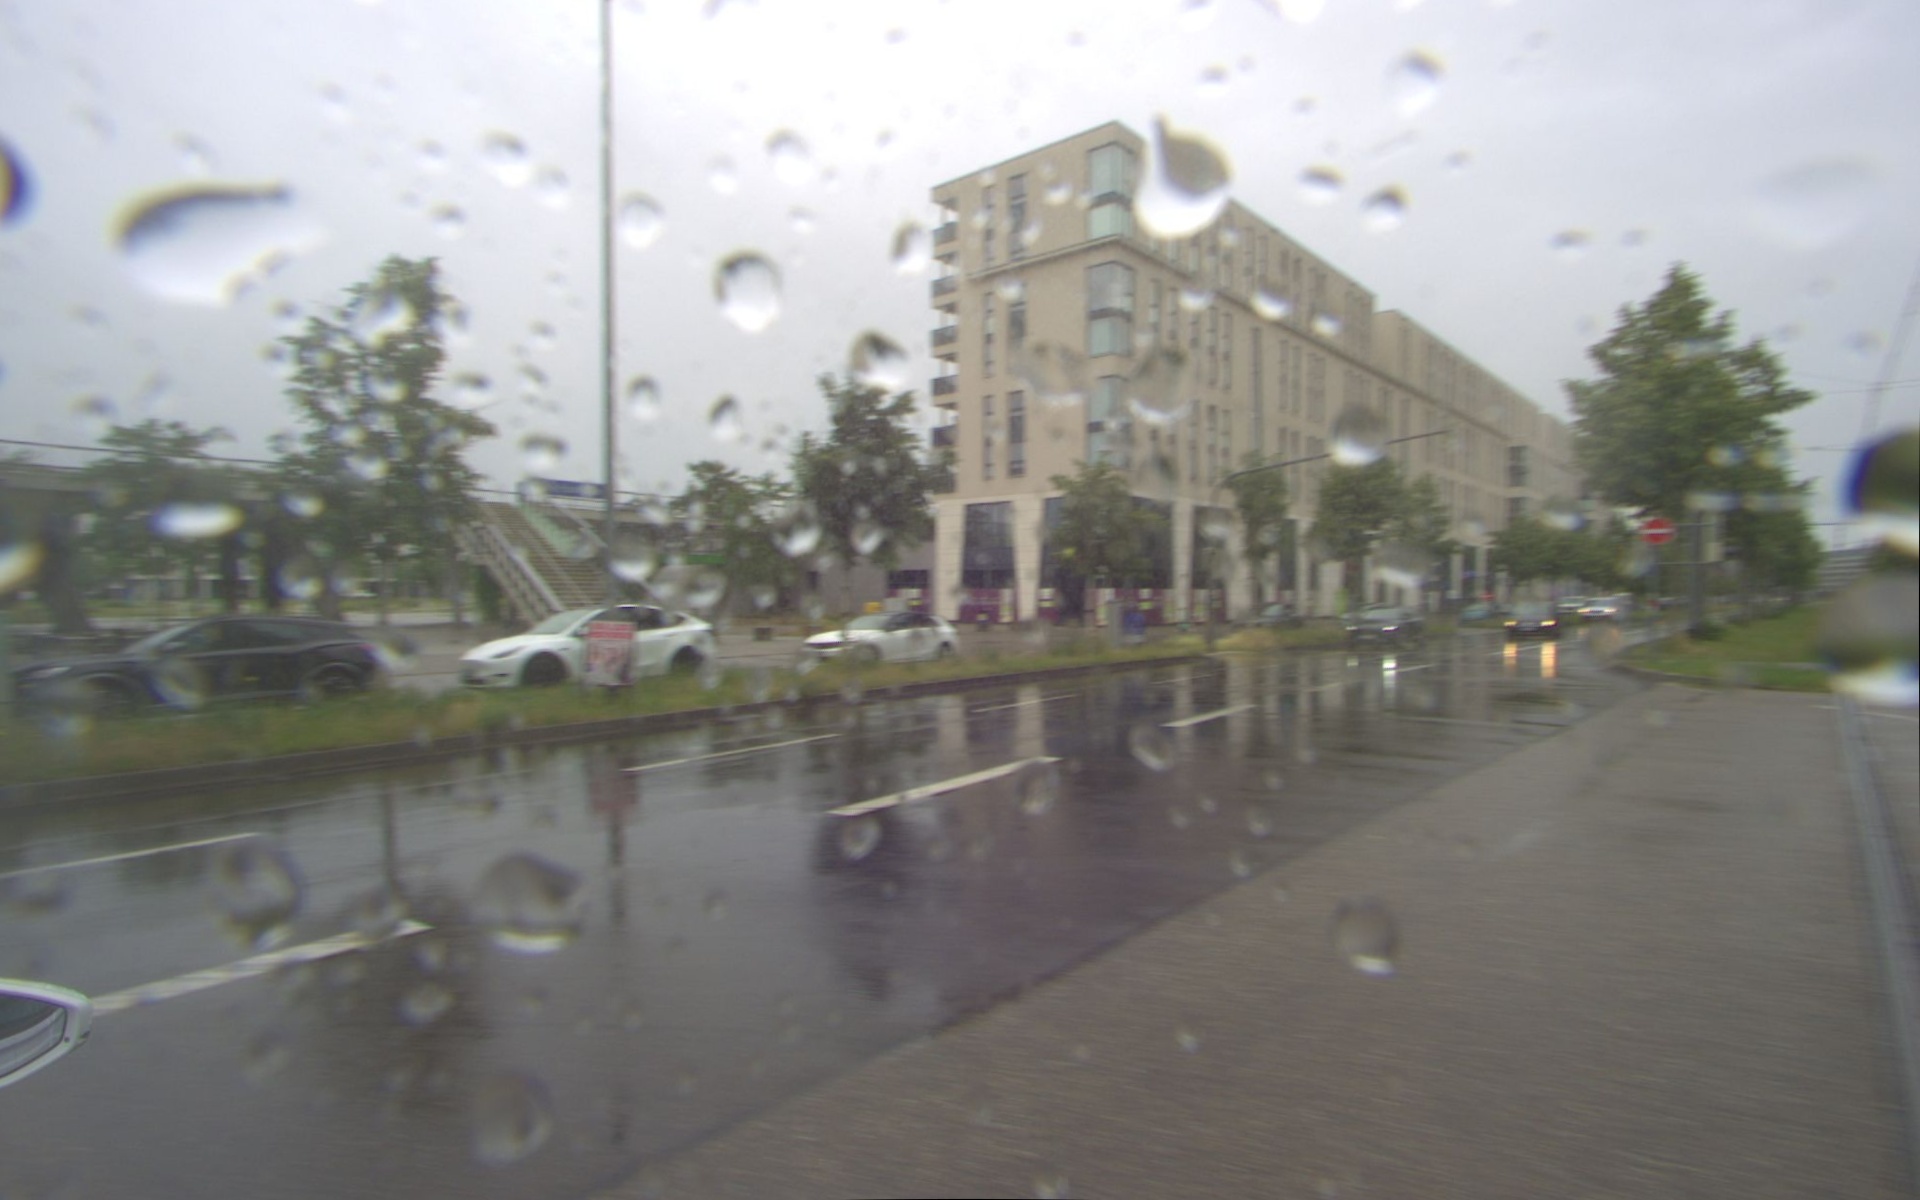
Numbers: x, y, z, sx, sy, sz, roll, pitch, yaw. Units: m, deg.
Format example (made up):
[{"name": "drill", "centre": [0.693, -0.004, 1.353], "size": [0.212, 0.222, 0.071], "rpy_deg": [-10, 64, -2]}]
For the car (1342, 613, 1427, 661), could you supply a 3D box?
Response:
[{"name": "car", "centre": [14.744, 1.286, 34.658], "size": [1.667, 1.549, 3.941], "rpy_deg": [1, -2, 39]}]

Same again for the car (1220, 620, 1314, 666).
[{"name": "car", "centre": [12.731, 1.767, 41.373], "size": [1.976, 1.729, 4.803], "rpy_deg": [1, -2, 40]}]

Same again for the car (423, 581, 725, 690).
[{"name": "car", "centre": [-6.896, 0.650, 18.351], "size": [1.976, 1.729, 4.803], "rpy_deg": [1, -2, 40]}]

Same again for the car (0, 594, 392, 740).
[{"name": "car", "centre": [-10.881, 0.863, 14.012], "size": [1.976, 1.729, 4.689], "rpy_deg": [1, -2, 40]}]

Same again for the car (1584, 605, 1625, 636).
[{"name": "car", "centre": [43.537, 1.390, 67.607], "size": [1.738, 1.950, 3.969], "rpy_deg": [1, -1, 41]}]

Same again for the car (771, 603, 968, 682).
[{"name": "car", "centre": [-2.097, 1.040, 24.592], "size": [1.976, 1.729, 4.803], "rpy_deg": [1, -2, 40]}]

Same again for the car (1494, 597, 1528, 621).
[{"name": "car", "centre": [40.240, 0.650, 73.097], "size": [1.622, 1.609, 3.905], "rpy_deg": [1, -1, 37]}]

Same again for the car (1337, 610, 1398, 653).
[{"name": "car", "centre": [20.412, 1.591, 50.106], "size": [1.891, 2.039, 3.976], "rpy_deg": [1, -1, 36]}]

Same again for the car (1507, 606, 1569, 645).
[{"name": "car", "centre": [24.234, 1.085, 41.912], "size": [1.638, 1.549, 3.749], "rpy_deg": [1, -2, 39]}]
